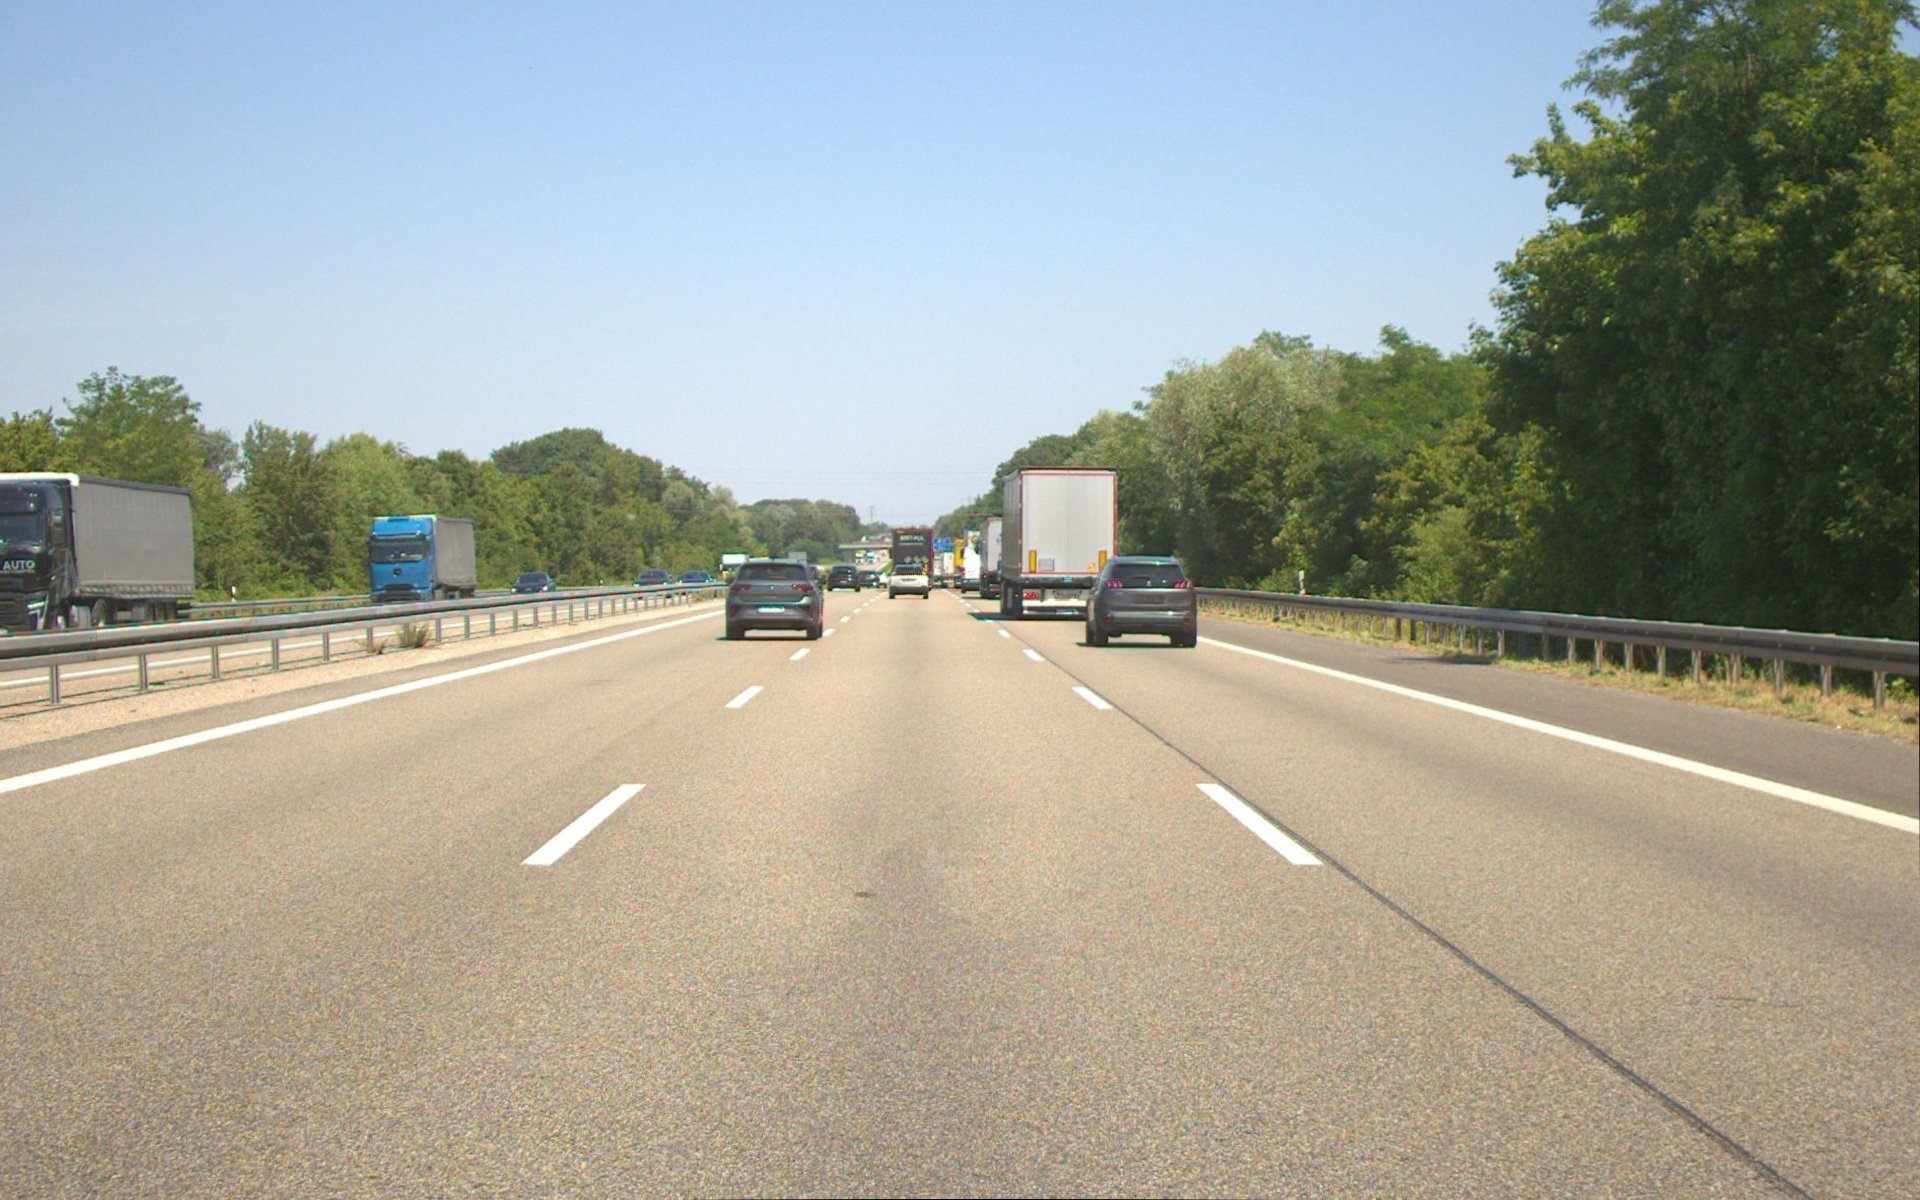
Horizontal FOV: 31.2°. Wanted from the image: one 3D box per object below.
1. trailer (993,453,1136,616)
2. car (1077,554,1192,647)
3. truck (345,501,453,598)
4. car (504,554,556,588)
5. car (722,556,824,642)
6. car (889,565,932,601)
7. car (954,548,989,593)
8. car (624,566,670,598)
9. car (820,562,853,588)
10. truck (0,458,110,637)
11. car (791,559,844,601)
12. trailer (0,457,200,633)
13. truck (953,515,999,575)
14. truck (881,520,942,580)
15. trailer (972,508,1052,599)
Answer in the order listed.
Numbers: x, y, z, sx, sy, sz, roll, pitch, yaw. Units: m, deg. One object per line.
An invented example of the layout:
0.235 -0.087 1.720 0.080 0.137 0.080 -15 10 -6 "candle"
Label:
2.765 -1.743 95.564 3.434 4.167 13.633 1 0 0 "trailer"
3.142 -0.013 62.590 1.845 1.623 4.135 0 1 0 "car"
-23.703 -2.157 145.757 3.251 3.972 8.728 0 1 -1 "truck"
-19.539 -1.313 156.409 1.850 1.458 4.314 3 0 -1 "car"
-3.594 -0.043 66.643 1.759 1.525 4.286 1 1 -1 "car"
-2.235 -0.781 155.289 1.900 1.525 4.084 1 1 -1 "car"
0.647 -1.684 195.068 1.907 2.417 4.286 1 1 -1 "car"
-15.325 -0.896 168.630 1.850 1.458 5.170 -3 0 -1 "car"
-7.598 -1.530 211.212 1.907 1.525 4.286 1 1 -1 "car"
-22.635 -1.273 82.064 3.197 4.115 6.194 0 1 -1 "truck"
-5.512 -0.791 133.094 1.900 1.525 4.084 1 1 -1 "car"
-22.831 -1.454 89.376 3.348 4.172 13.543 -1 1 -1 "trailer"
1.031 -3.551 219.046 2.792 3.713 7.108 1 1 1 "truck"
-3.093 -3.211 220.107 3.667 3.713 7.108 1 1 1 "truck"
2.285 -2.135 155.405 3.122 3.913 9.937 1 1 -2 "trailer"
